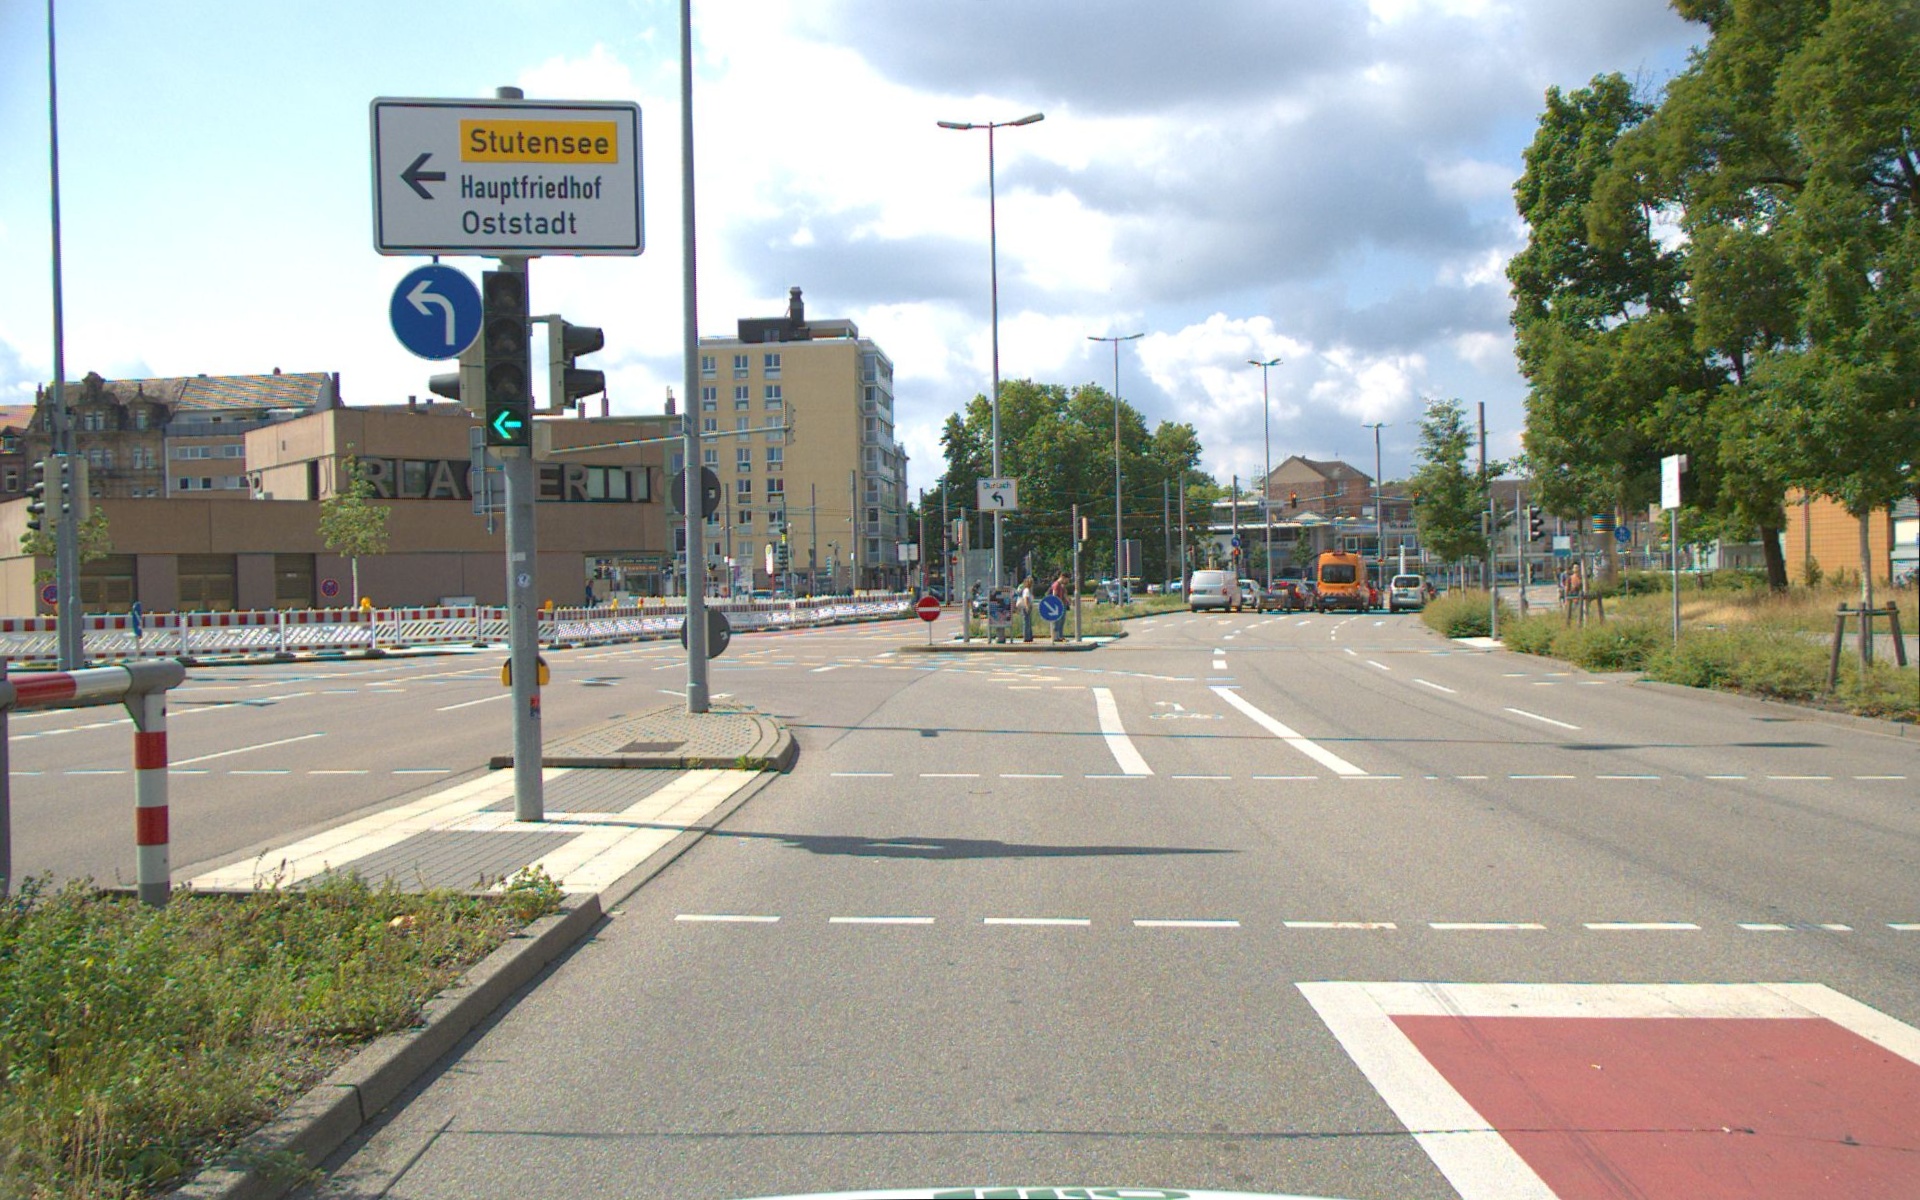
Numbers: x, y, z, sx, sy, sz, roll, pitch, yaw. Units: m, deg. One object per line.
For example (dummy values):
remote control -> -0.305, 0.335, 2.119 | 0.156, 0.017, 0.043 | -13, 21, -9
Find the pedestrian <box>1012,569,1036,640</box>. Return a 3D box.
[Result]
pedestrian -> 1.615, 0.104, 41.501 | 0.513, 1.763, 0.624 | -1, 0, 7

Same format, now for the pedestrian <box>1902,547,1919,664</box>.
pedestrian -> 13.001, 0.063, 21.886 | 0.754, 1.534, 0.552 | -1, 0, 2

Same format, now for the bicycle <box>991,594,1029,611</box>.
bicycle -> 3.311, 0.175, 108.725 | 2.329, 1.085, 0.843 | -1, 0, 18

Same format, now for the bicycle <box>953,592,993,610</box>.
bicycle -> 0.808, 0.064, 104.479 | 2.329, 1.085, 0.859 | -1, 0, 18

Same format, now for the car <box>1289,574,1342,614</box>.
car -> 18.623, -0.328, 86.528 | 1.950, 1.972, 4.639 | -2, 0, 21

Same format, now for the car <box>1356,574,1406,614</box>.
car -> 21.805, -0.333, 85.487 | 1.950, 1.972, 4.639 | -2, 0, 21

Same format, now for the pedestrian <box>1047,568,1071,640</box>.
pedestrian -> 2.424, 0.096, 40.637 | 0.513, 1.763, 0.624 | -1, 0, 7

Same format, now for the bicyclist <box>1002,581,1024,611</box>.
bicyclist -> 3.480, -0.258, 108.662 | 1.194, 1.943, 0.834 | -1, 0, 18

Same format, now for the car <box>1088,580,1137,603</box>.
car -> 10.501, -0.589, 114.052 | 1.640, 1.506, 4.031 | 1, 1, -24

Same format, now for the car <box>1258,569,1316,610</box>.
car -> 15.901, -0.520, 80.309 | 1.953, 1.858, 4.000 | -2, 0, 22

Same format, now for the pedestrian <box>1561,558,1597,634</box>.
pedestrian -> 14.688, -0.096, 39.265 | 0.646, 1.763, 0.578 | -1, 0, 5

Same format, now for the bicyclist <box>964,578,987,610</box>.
bicyclist -> 0.988, -0.370, 104.406 | 1.194, 1.943, 0.859 | -1, 0, 18

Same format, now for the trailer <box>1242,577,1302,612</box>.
trailer -> 14.512, -0.280, 76.882 | 1.953, 1.503, 4.000 | -2, 0, 22

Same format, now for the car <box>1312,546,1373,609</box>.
car -> 17.940, -1.063, 77.490 | 2.086, 2.829, 4.639 | -2, 0, 21

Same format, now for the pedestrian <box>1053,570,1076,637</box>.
pedestrian -> 2.697, 0.092, 42.779 | 0.513, 1.713, 0.624 | -1, 0, 7

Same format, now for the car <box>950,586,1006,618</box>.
car -> 0.855, 0.069, 76.881 | 1.754, 1.412, 4.231 | -1, 0, 13

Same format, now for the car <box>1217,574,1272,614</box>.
car -> 15.044, -0.318, 87.187 | 1.950, 1.972, 4.639 | -2, 0, 21

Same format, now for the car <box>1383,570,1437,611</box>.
car -> 21.353, -0.455, 78.430 | 1.953, 1.826, 4.000 | -2, 0, 23

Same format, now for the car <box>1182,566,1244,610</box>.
car -> 12.193, -0.606, 79.436 | 1.964, 2.001, 4.639 | -2, 0, 21
